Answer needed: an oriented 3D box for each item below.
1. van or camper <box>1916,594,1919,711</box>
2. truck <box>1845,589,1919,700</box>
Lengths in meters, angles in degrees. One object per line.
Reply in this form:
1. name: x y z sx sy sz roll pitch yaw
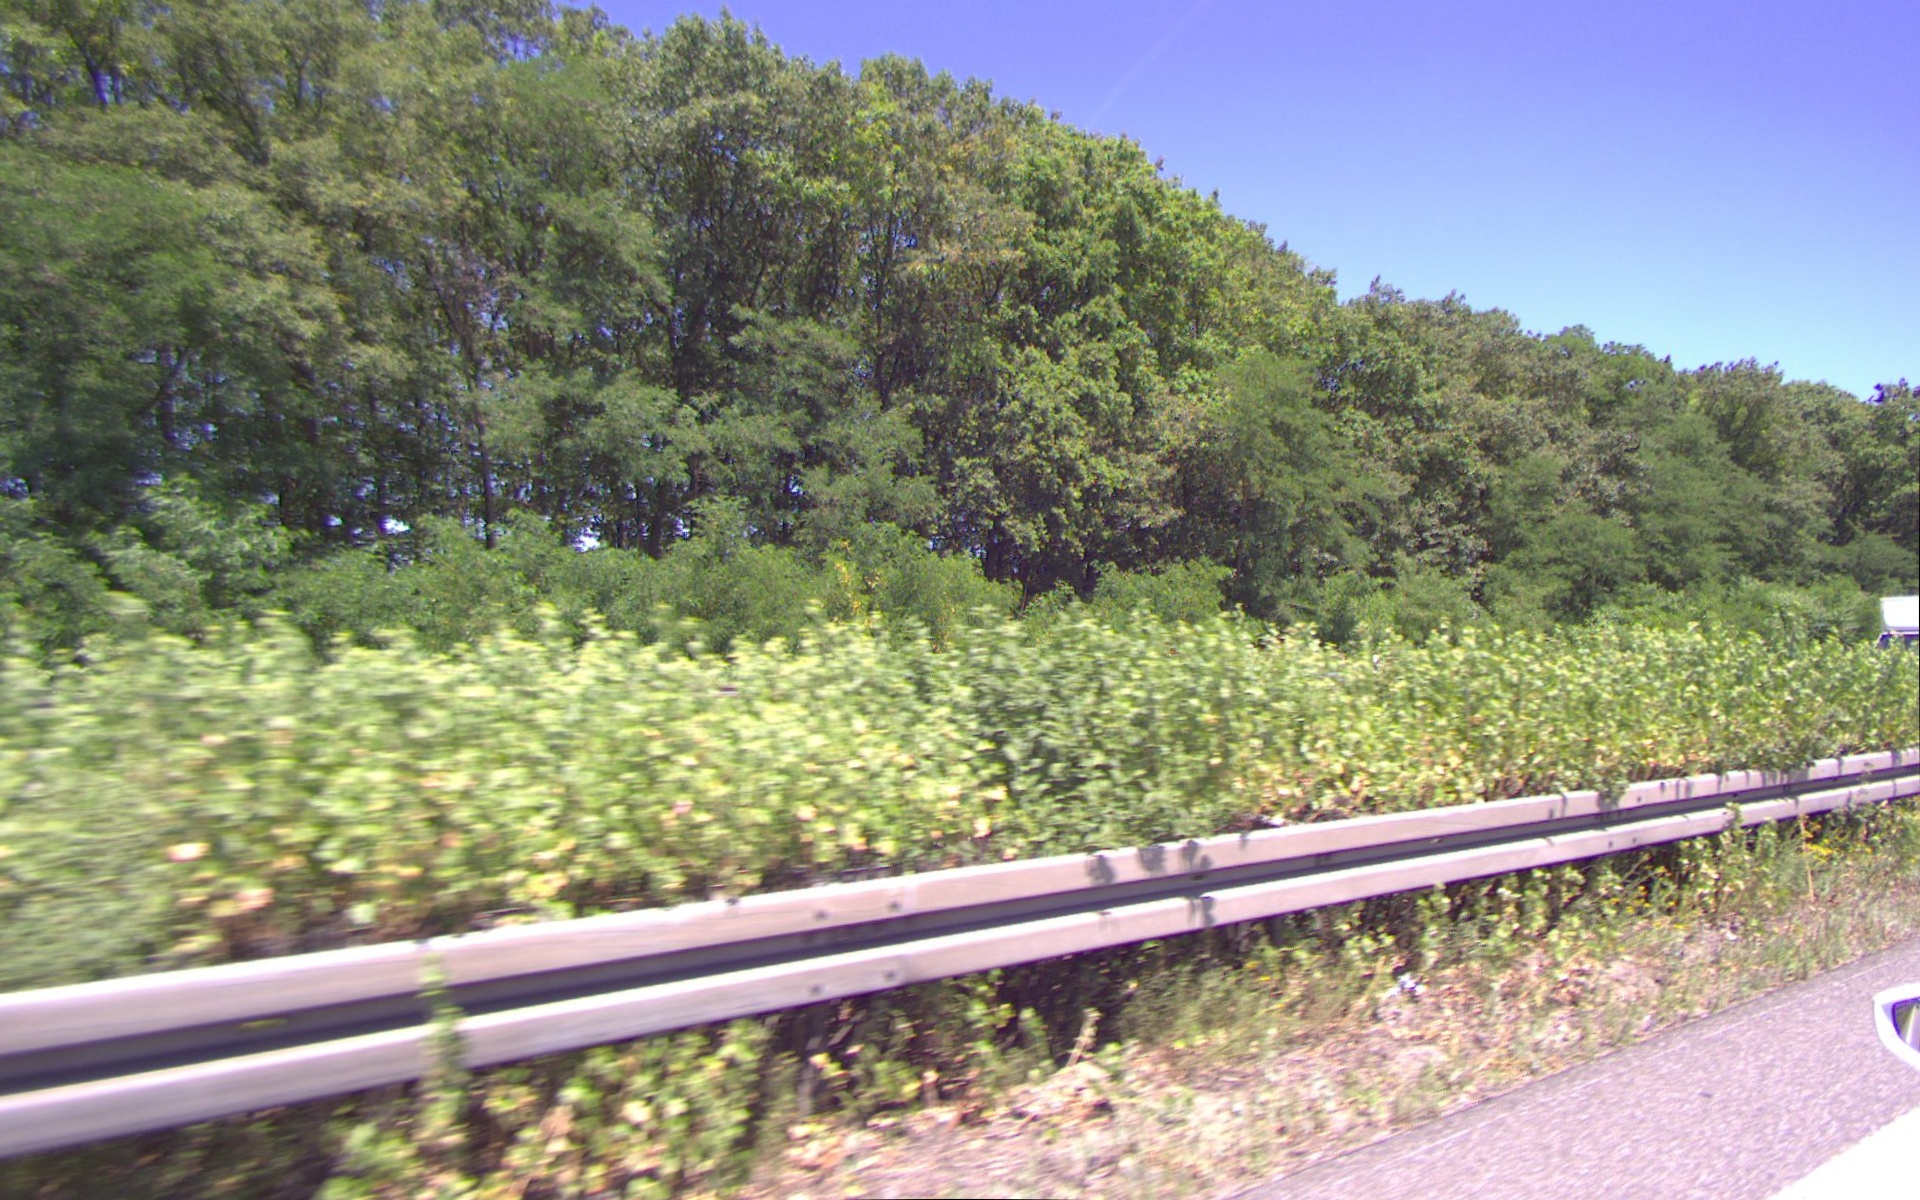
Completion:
1. van or camper: 27.041 1.353 25.742 6.921 2.883 1.983 1 -1 -31
2. truck: 31.976 1.456 32.965 6.921 3.397 2.398 1 -3 -31
